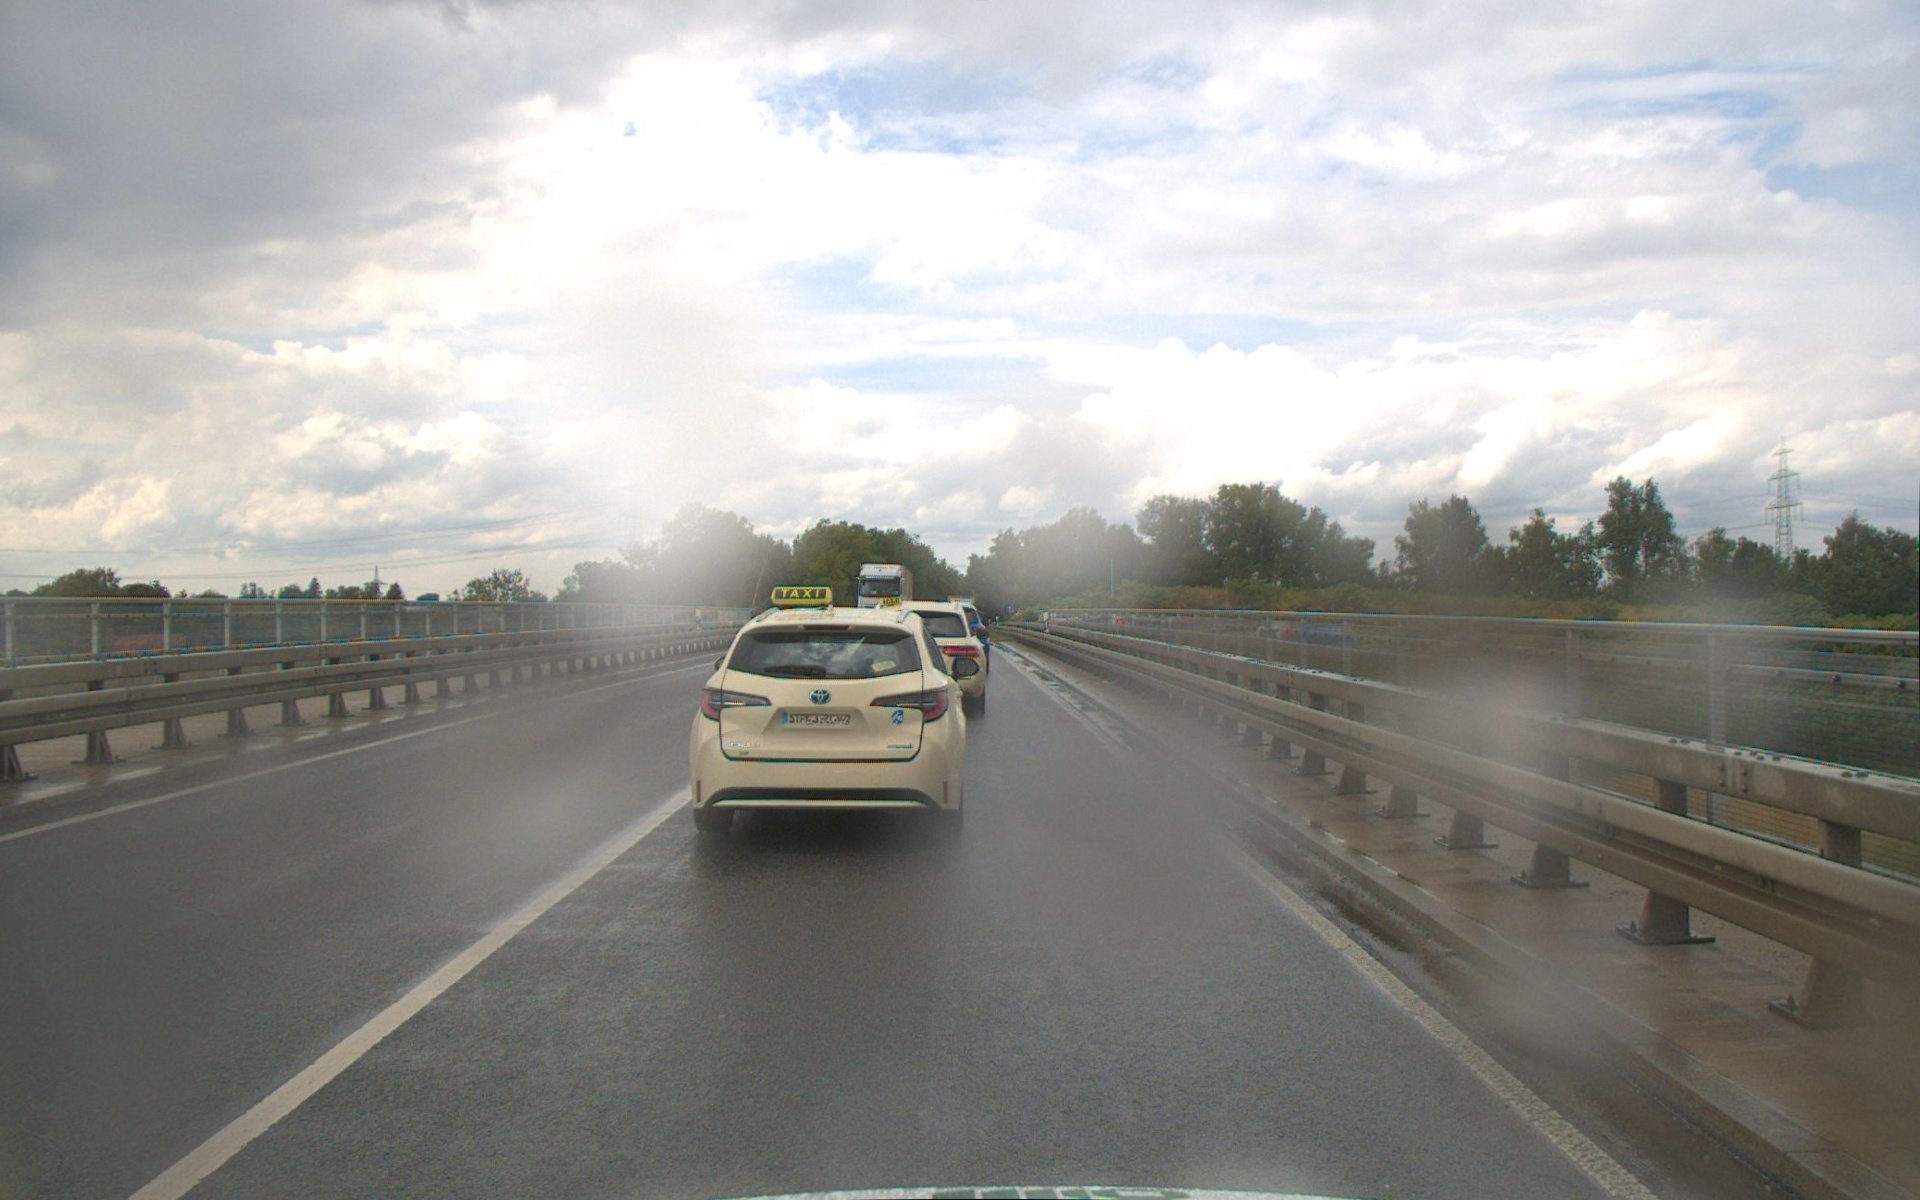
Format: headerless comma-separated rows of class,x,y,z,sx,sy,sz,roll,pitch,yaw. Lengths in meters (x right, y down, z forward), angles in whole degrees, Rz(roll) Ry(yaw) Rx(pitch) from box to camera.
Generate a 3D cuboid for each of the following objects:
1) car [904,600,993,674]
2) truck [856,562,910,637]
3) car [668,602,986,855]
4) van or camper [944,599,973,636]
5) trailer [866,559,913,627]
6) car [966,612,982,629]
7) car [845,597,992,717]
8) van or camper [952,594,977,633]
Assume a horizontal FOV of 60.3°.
car,-0.255,0.770,36.140,1.816,1.468,4.170,1,0,-1
truck,-4.412,-0.019,96.624,2.628,4.087,10.054,1,0,0
car,-0.790,0.752,11.706,1.816,1.418,4.170,1,0,-1
van or camper,-0.111,1.415,136.337,2.285,2.914,6.305,1,0,0
trailer,-4.440,-0.459,105.911,2.628,4.146,8.484,1,0,0
car,1.756,2.632,209.999,1.953,2.049,3.999,1,0,-1
car,-0.534,0.715,22.867,1.816,1.468,4.170,1,0,-1
van or camper,0.411,1.247,159.023,2.285,3.625,6.305,1,0,0
